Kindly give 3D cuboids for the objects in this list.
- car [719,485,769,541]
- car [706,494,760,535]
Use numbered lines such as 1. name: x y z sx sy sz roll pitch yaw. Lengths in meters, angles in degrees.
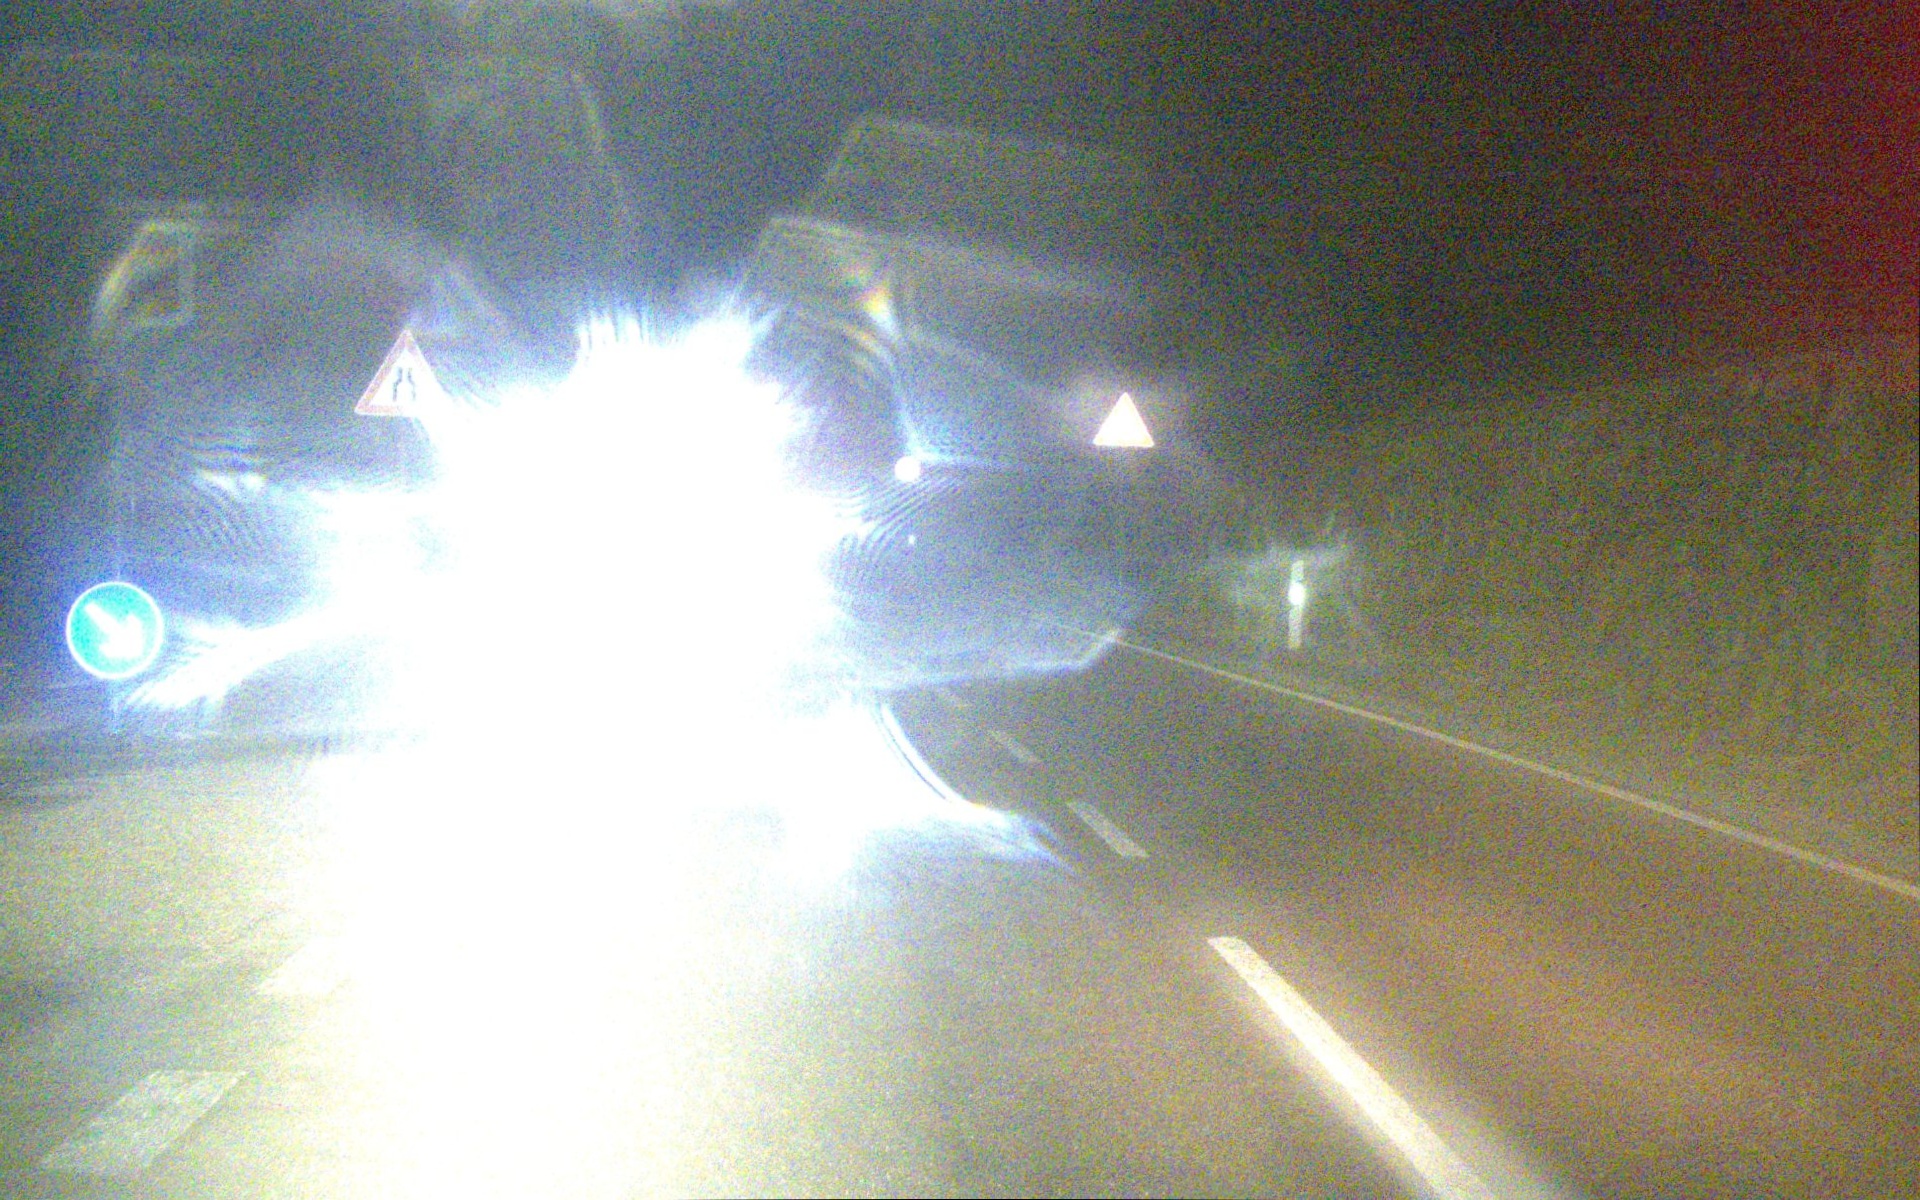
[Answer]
1. car: -8.048 -3.232 128.366 1.791 2.015 4.580 1 1 -3
2. car: -11.189 -4.213 169.850 1.994 1.711 3.999 5 0 5
